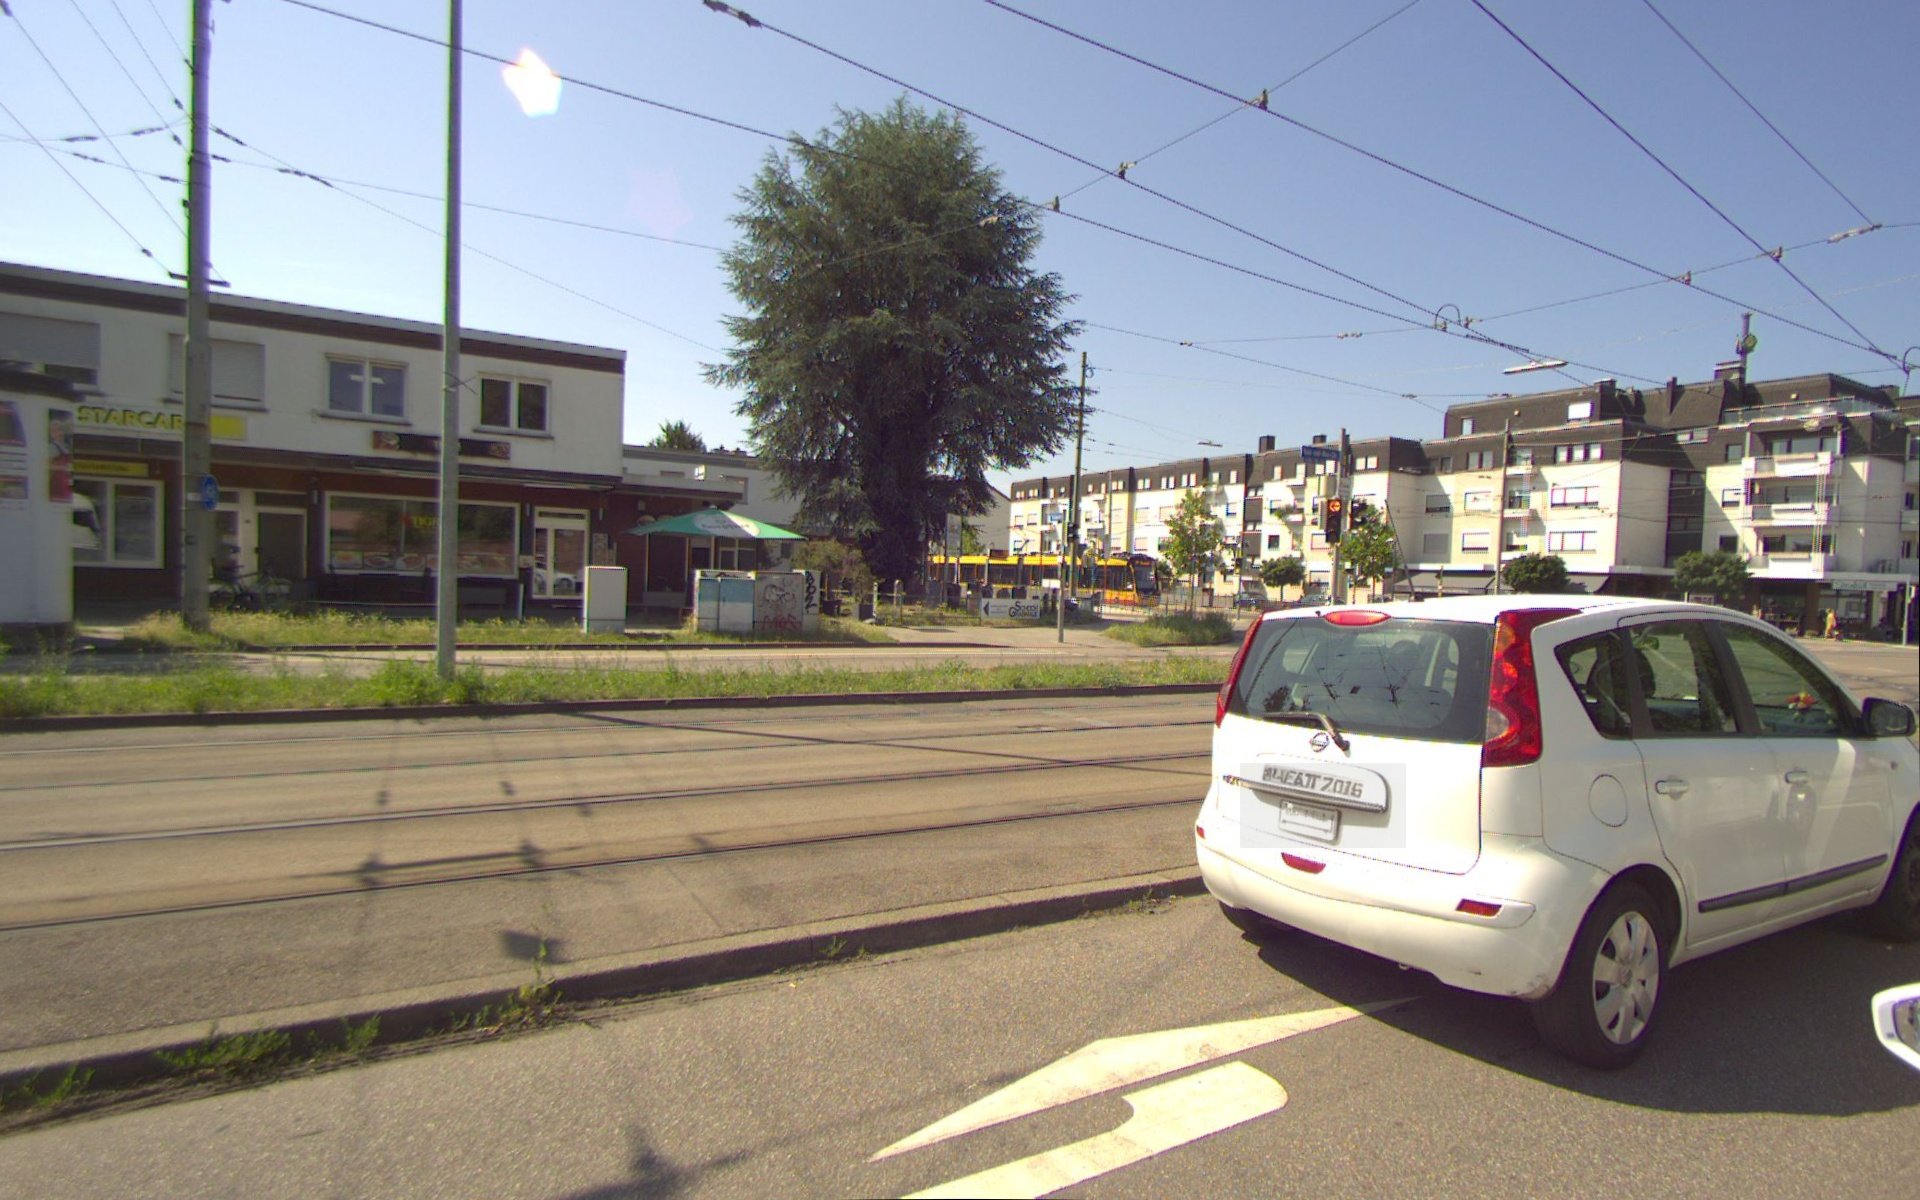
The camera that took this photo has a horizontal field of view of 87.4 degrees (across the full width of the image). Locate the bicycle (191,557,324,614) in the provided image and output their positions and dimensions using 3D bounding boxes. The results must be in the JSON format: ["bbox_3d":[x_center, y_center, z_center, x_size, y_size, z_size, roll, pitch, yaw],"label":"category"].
[{"bbox_3d":[-15.514,-0.295,22.270,2.306,1.167,0.783,2,-1,-30],"label":"bicycle"}]

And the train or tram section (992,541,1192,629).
[{"bbox_3d":[8.534,-0.903,69.385,4.681,5.217,16.121,2,-1,-30],"label":"train or tram section"}]

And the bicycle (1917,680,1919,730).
[{"bbox_3d":[12.972,1.120,12.118,0.705,1.105,1.999,1,2,-44],"label":"bicycle"}]

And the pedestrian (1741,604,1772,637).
[{"bbox_3d":[43.768,1.150,55.204,0.956,1.766,0.864,2,-1,-4],"label":"pedestrian"}]

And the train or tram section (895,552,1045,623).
[{"bbox_3d":[0.378,-0.936,83.287,4.681,5.217,16.121,2,-1,-30],"label":"train or tram section"}]

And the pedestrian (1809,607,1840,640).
[{"bbox_3d":[47.878,1.299,55.629,0.955,1.766,0.865,2,-1,14],"label":"pedestrian"}]

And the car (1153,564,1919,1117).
[{"bbox_3d":[2.853,0.699,4.552,3.759,1.587,1.634,0,0,-31],"label":"car"}]
